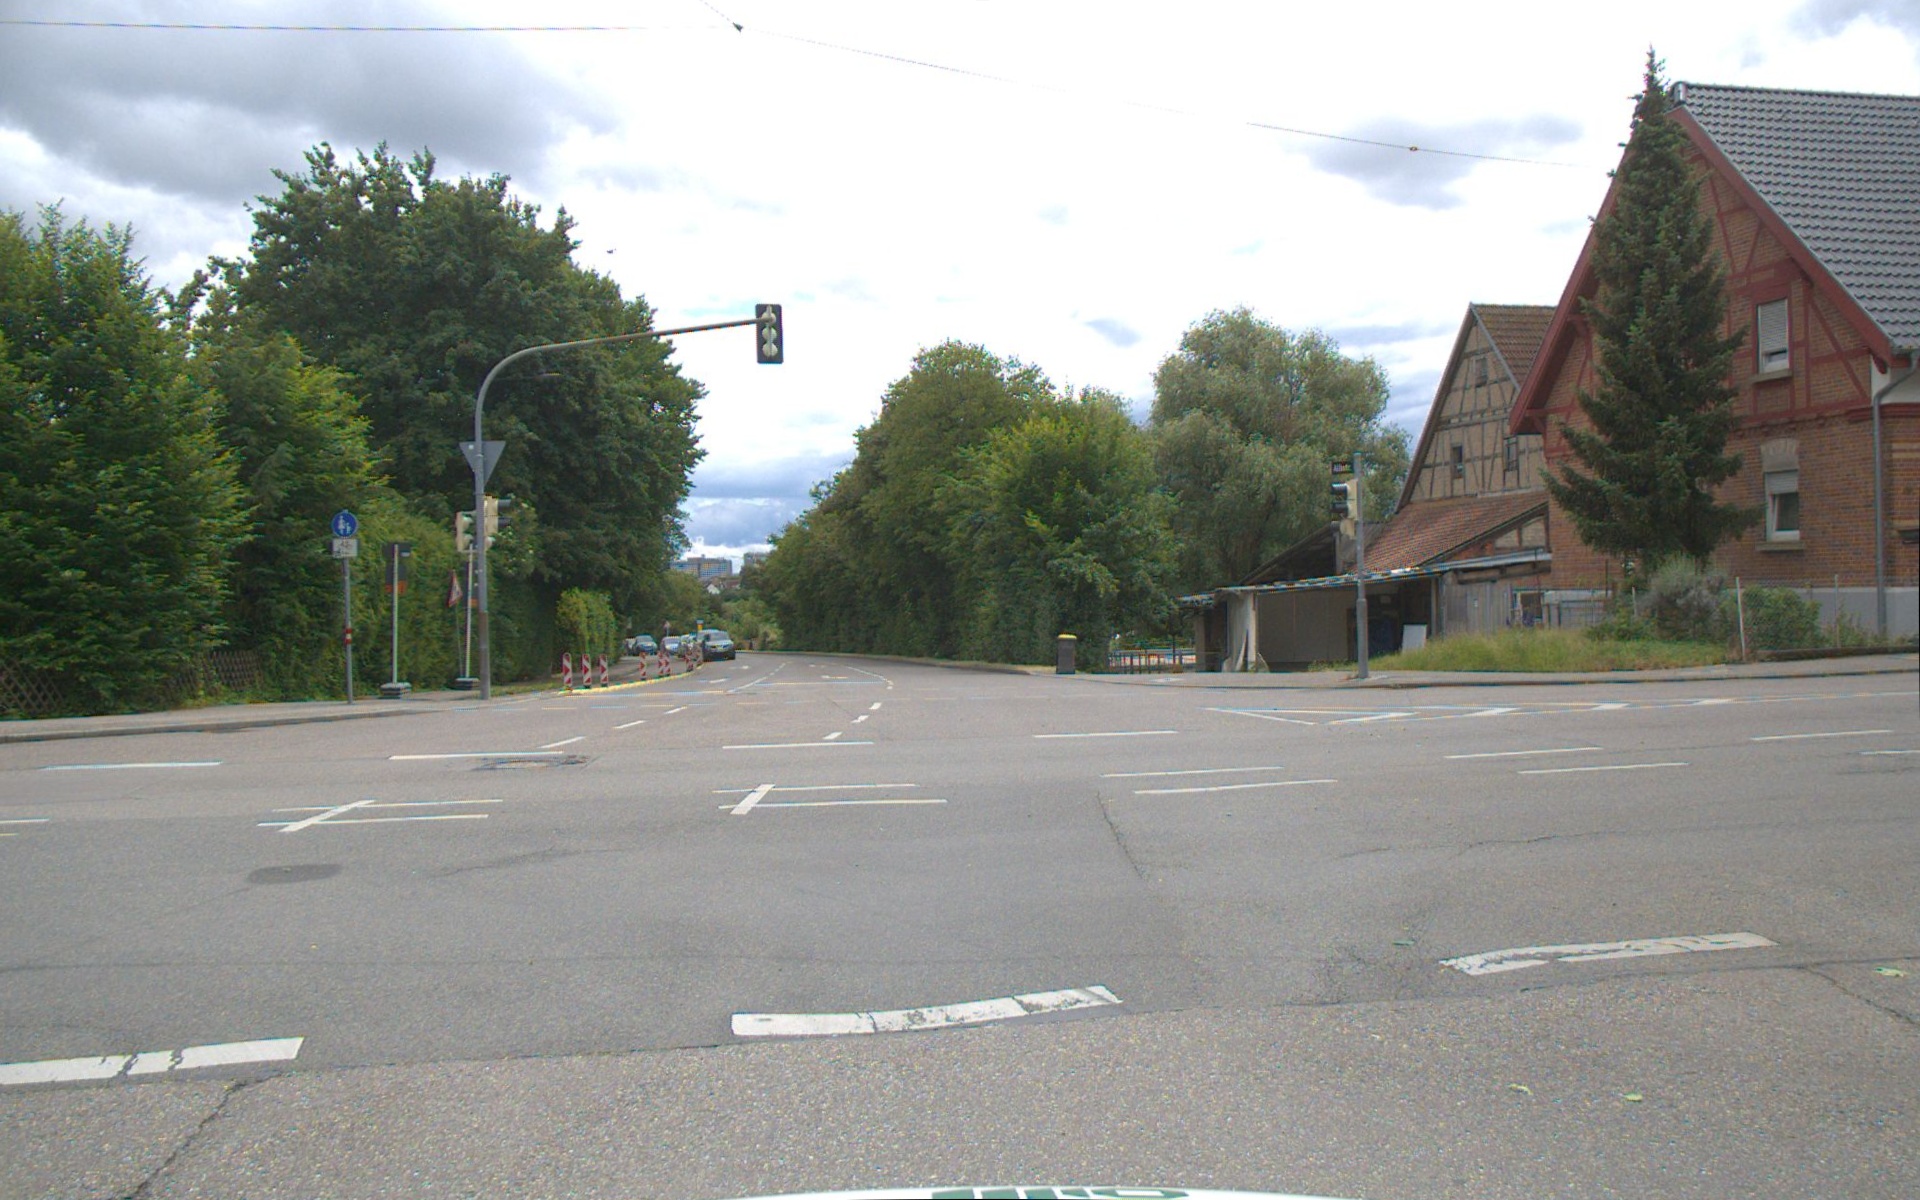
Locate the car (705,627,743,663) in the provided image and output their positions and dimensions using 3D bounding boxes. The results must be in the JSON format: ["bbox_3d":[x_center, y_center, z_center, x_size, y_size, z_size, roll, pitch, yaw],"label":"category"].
[{"bbox_3d":[-12.905,2.445,90.737,1.956,1.780,3.993,-2,0,-8],"label":"car"}]

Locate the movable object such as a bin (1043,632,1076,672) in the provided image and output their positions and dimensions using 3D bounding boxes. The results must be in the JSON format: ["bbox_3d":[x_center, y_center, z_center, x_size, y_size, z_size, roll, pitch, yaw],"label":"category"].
[{"bbox_3d":[2.397,1.252,39.682,0.580,0.922,0.602,-2,0,27],"label":"movable object such as a bin"}]
